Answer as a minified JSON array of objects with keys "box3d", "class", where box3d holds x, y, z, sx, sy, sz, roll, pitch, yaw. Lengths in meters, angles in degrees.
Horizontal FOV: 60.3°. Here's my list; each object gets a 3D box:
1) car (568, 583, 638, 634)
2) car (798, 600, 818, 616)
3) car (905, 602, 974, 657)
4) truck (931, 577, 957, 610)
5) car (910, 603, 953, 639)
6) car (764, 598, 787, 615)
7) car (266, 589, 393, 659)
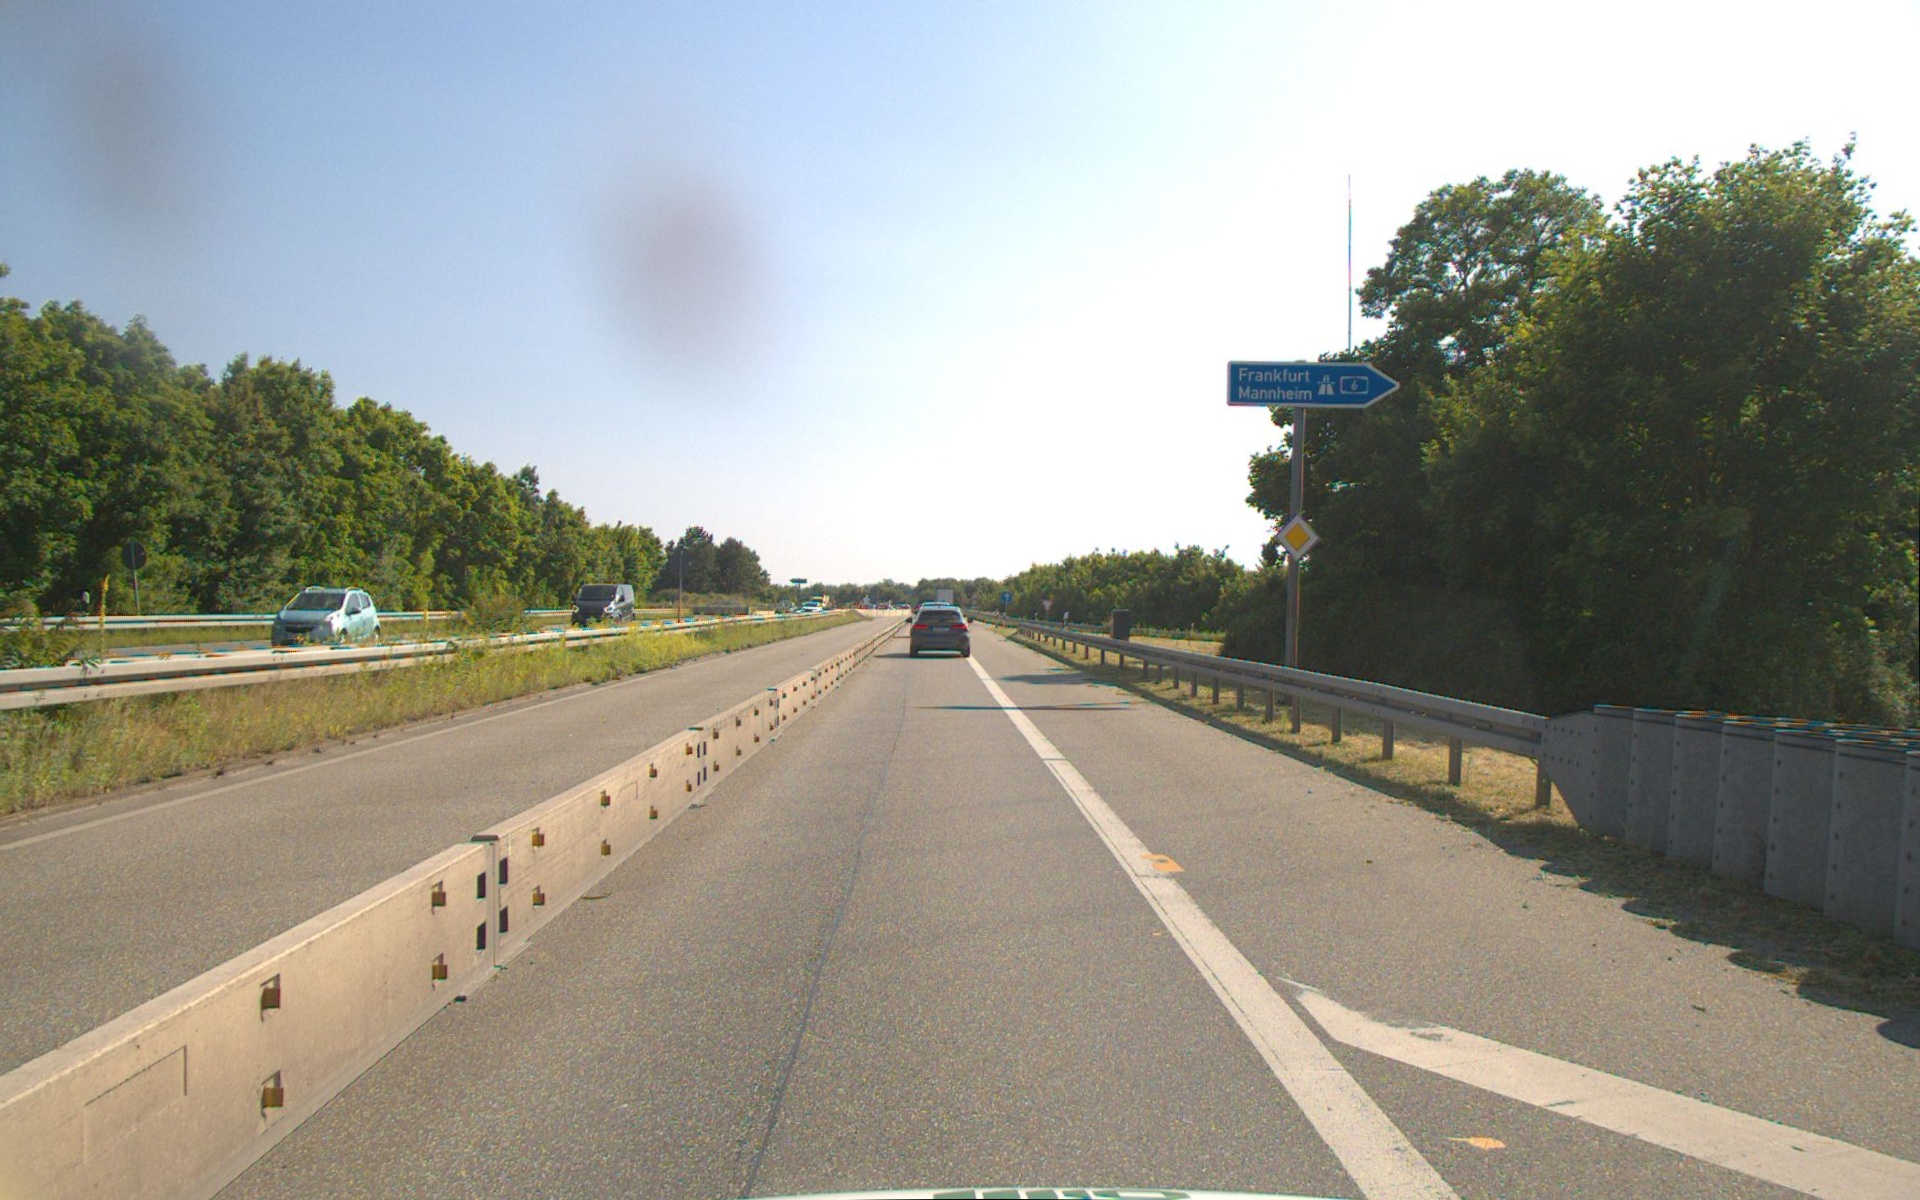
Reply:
[{"box3d":[-15.100,0.342,70.171,1.953,2.070,5.167,0,0,-1],"class":"car"},{"box3d":[-15.329,0.782,167.079,1.724,1.496,4.792,2,0,-2],"class":"car"},{"box3d":[-0.645,0.846,48.706,1.882,1.520,3.998,-1,0,-3],"class":"car"},{"box3d":[-2.592,-0.944,259.338,3.685,4.997,14.131,1,0,-2],"class":"truck"},{"box3d":[-1.299,0.953,76.951,1.953,1.594,3.999,0,0,-1],"class":"car"},{"box3d":[-16.990,0.589,152.179,1.703,1.520,4.108,1,0,-2],"class":"car"},{"box3d":[-15.077,0.544,39.747,1.613,1.558,3.817,1,0,-1],"class":"car"}]
